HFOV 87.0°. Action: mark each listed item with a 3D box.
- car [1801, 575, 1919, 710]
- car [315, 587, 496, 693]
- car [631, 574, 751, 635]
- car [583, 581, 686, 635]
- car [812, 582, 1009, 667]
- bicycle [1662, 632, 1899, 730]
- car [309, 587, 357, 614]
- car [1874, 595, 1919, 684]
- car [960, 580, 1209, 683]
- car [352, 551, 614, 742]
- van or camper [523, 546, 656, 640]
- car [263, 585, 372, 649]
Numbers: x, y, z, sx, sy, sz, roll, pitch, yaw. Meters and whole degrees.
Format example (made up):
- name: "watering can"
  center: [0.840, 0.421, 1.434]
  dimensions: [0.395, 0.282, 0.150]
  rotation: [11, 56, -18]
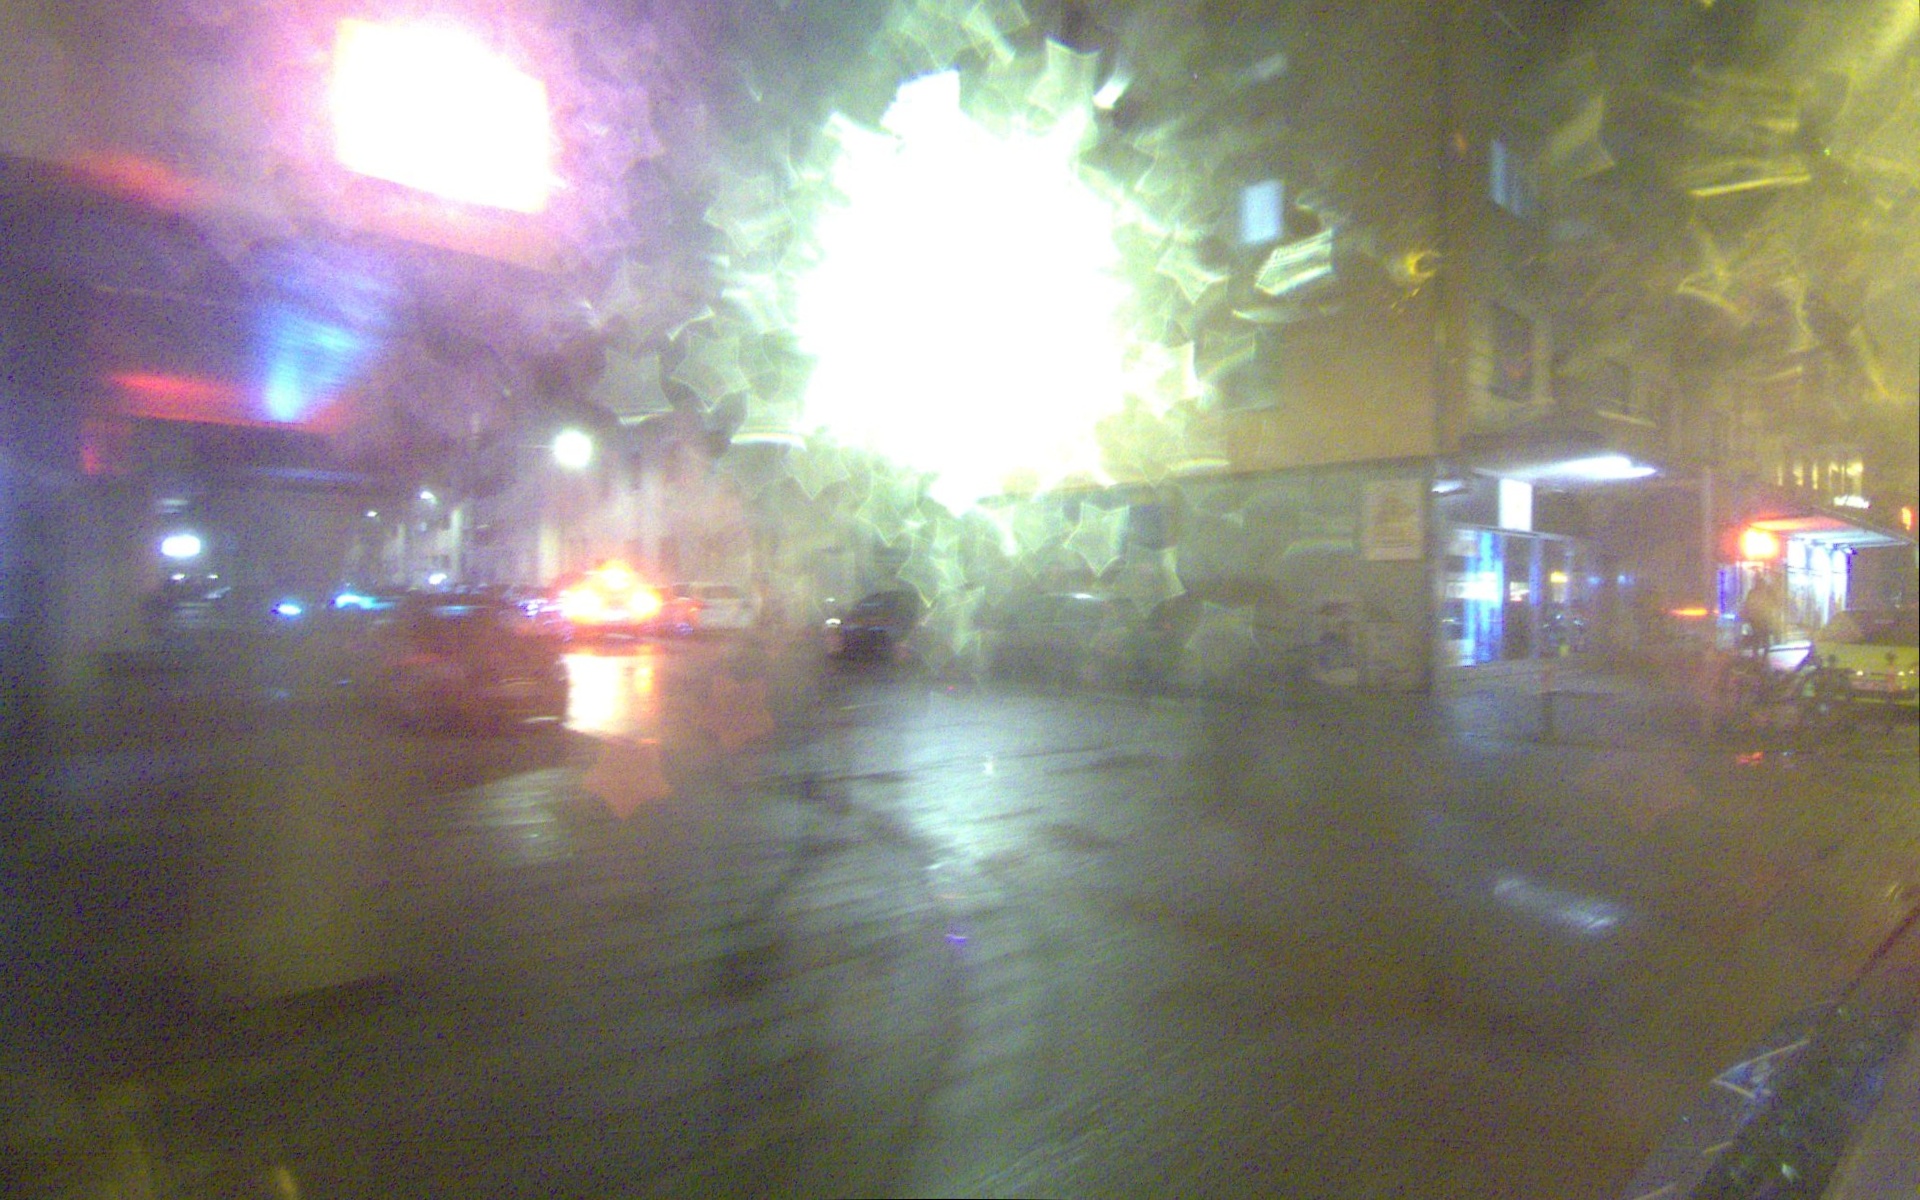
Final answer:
- name: "car"
  center: [13.653, 0.542, 14.614]
  dimensions: [3.788, 1.743, 1.676]
  rotation: [0, 2, -40]
- name: "car"
  center: [-8.897, 0.572, 16.074]
  dimensions: [1.809, 1.452, 4.154]
  rotation: [0, -1, -39]
- name: "car"
  center: [-7.784, 0.148, 29.061]
  dimensions: [1.809, 1.623, 4.154]
  rotation: [0, -1, -39]
- name: "car"
  center: [-10.562, 0.250, 32.662]
  dimensions: [1.809, 1.623, 4.154]
  rotation: [0, -1, -39]
- name: "car"
  center: [-1.085, 0.474, 20.348]
  dimensions: [1.964, 1.527, 3.995]
  rotation: [-1, -1, -39]
- name: "bicycle"
  center: [9.488, 0.895, 11.860]
  dimensions: [0.605, 0.905, 2.278]
  rotation: [1, 1, -11]
- name: "car"
  center: [-38.711, 0.051, 62.440]
  dimensions: [1.965, 1.556, 3.994]
  rotation: [-1, -1, -40]
- name: "car"
  center: [18.304, 0.697, 18.601]
  dimensions: [4.089, 1.525, 1.689]
  rotation: [0, 2, -40]
- name: "car"
  center: [1.971, 0.476, 16.983]
  dimensions: [1.861, 1.504, 3.995]
  rotation: [0, -1, -39]
- name: "car"
  center: [-5.648, 0.451, 11.706]
  dimensions: [1.809, 1.793, 4.153]
  rotation: [0, -1, -39]
- name: "van or camper"
  center: [-10.647, -0.139, 28.829]
  dimensions: [2.080, 2.429, 5.329]
  rotation: [0, -1, -37]
- name: "car"
  center: [-15.956, 0.410, 25.050]
  dimensions: [1.809, 1.452, 4.154]
  rotation: [0, -1, -39]
